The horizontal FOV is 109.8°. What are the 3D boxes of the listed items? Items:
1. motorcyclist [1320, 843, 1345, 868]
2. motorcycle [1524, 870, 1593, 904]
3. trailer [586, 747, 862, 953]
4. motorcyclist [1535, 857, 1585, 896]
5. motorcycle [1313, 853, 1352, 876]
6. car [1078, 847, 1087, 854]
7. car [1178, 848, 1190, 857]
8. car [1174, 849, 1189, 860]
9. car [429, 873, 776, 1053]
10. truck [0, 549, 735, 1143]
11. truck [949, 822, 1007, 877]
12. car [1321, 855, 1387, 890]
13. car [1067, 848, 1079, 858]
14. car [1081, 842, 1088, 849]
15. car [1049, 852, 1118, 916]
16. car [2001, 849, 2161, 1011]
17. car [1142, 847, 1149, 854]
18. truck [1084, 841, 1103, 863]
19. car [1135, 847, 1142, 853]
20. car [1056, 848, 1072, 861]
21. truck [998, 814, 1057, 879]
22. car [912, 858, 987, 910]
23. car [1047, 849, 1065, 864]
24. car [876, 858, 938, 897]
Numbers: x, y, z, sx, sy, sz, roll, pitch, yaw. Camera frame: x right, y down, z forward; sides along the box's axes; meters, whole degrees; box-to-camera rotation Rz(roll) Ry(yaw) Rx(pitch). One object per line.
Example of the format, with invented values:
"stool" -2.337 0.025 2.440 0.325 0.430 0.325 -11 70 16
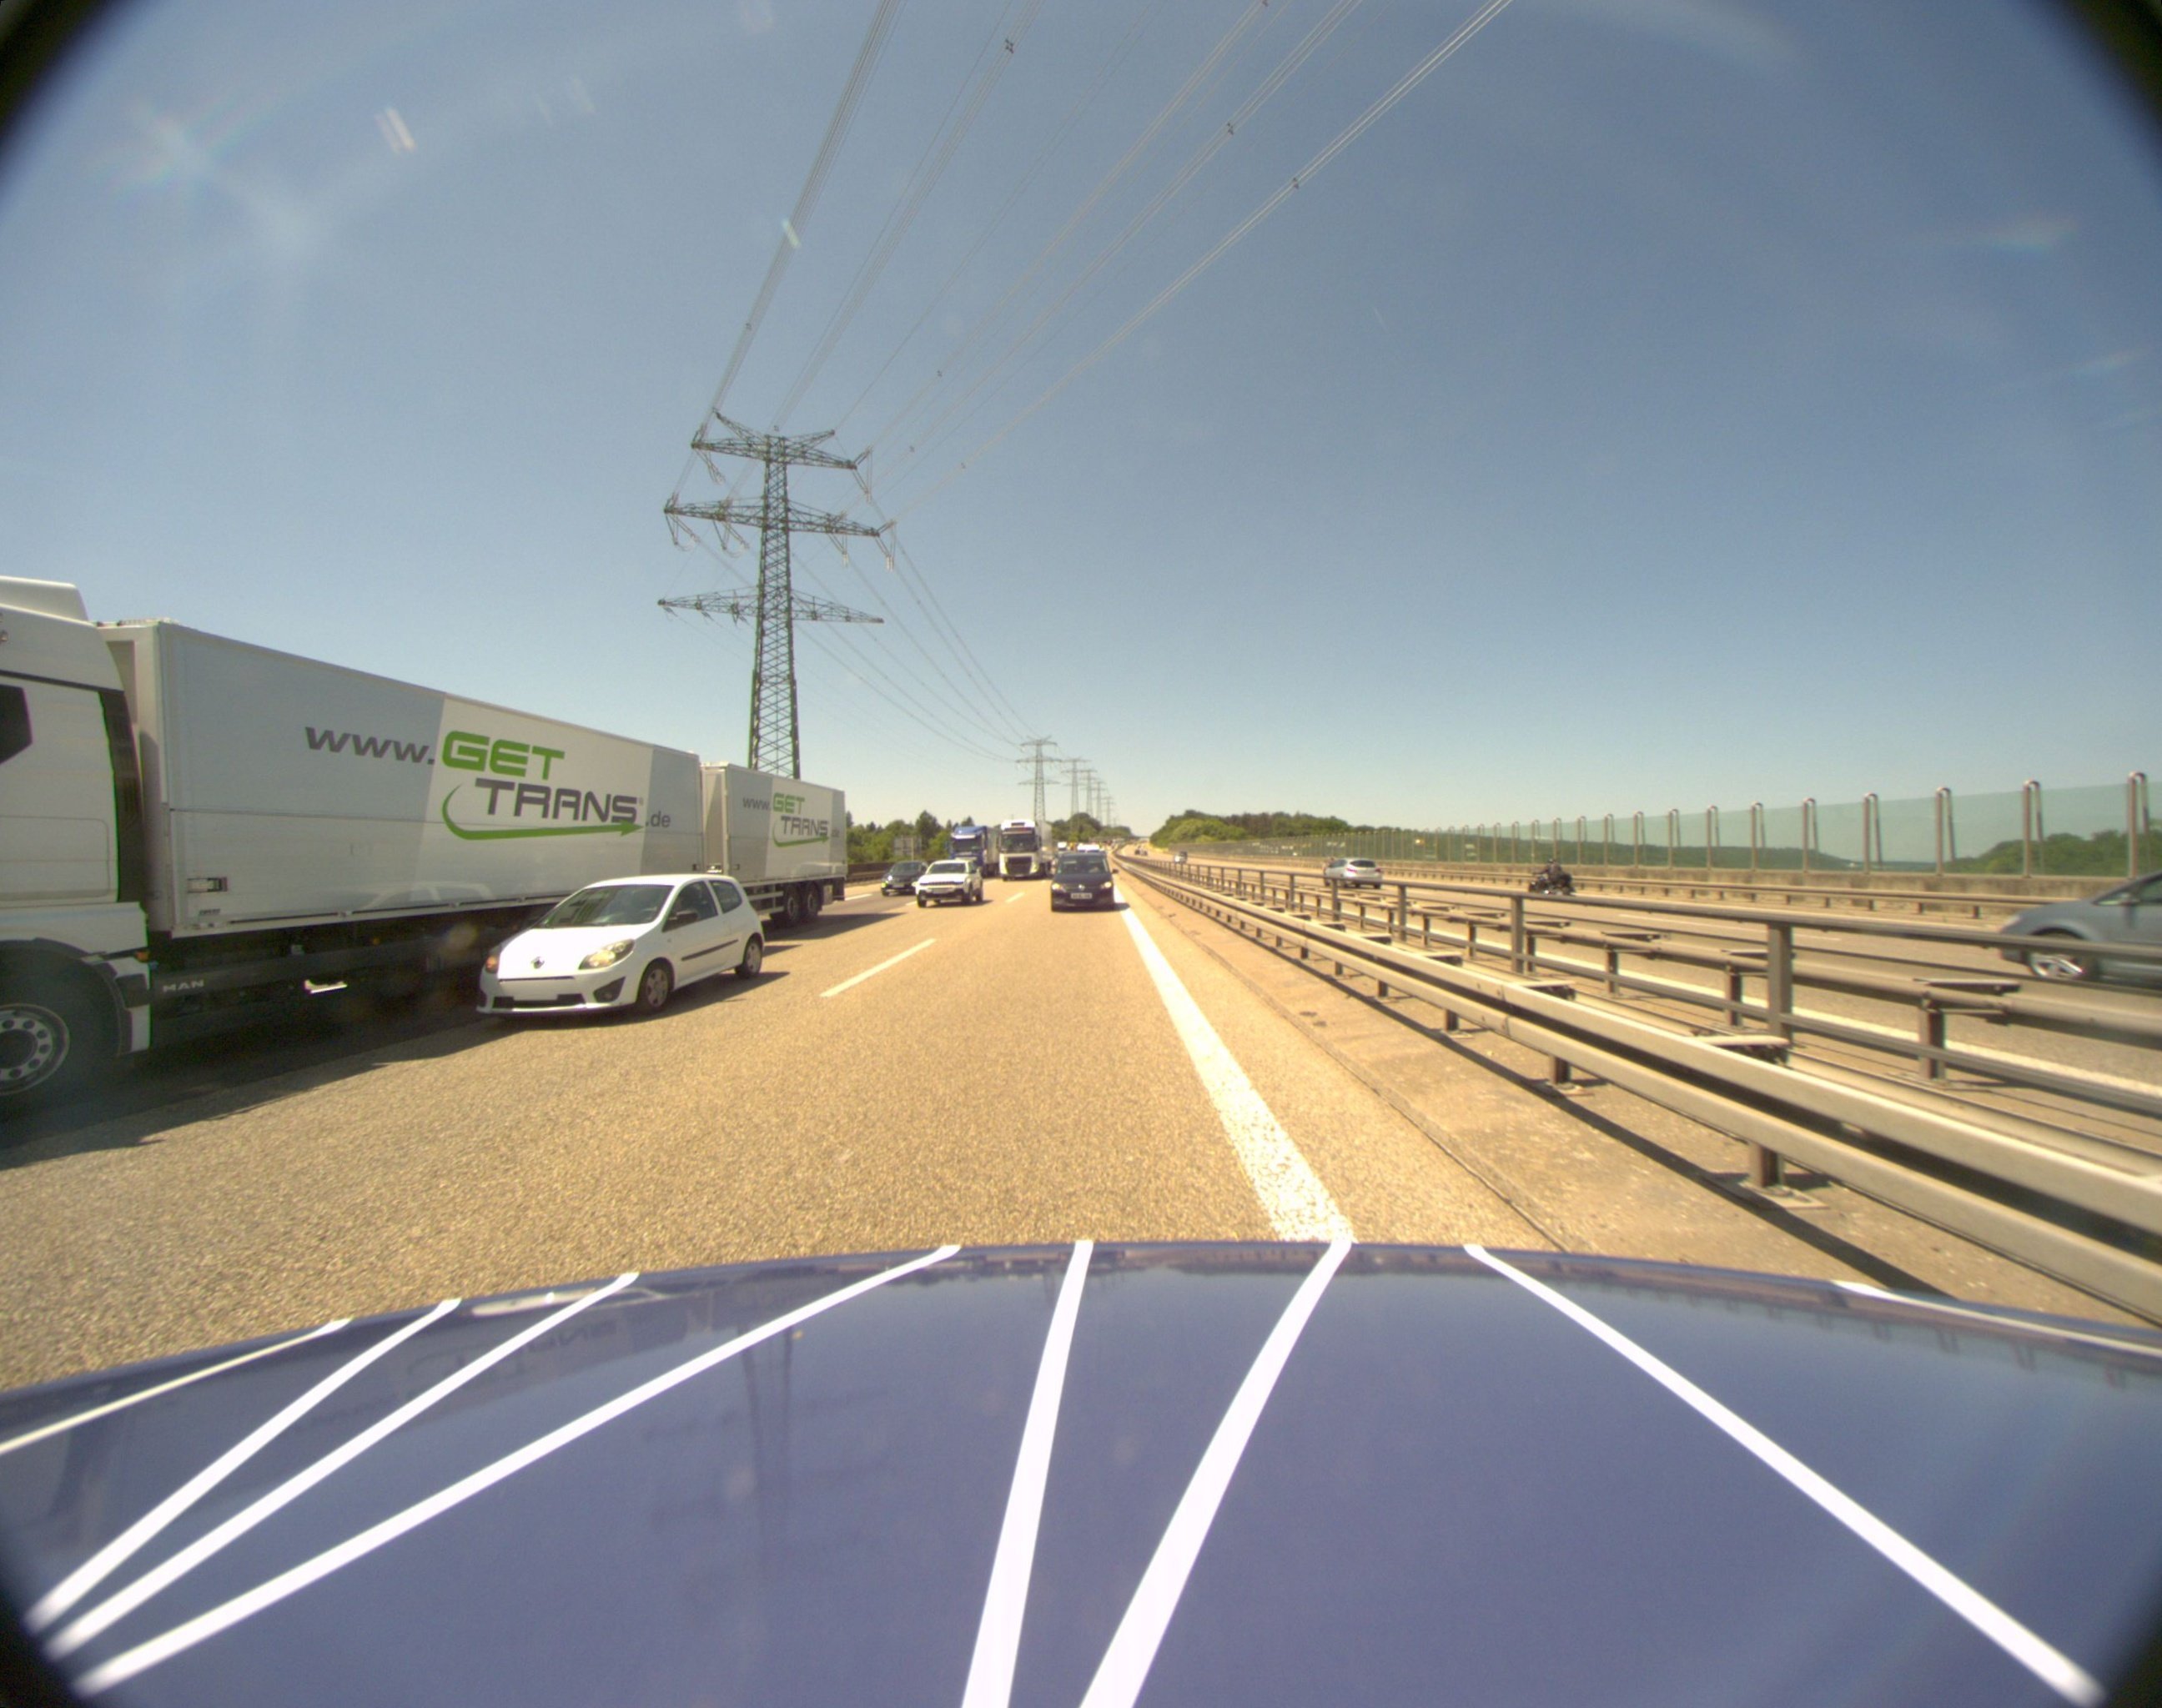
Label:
"motorcyclist" 17.839 0.111 53.945 1.379 1.675 1.133 -2 1 0
"motorcycle" 16.811 1.139 26.841 0.792 1.065 2.650 0 1 1
"trailer" -8.070 -0.078 18.674 2.752 3.918 7.774 -2 0 2
"motorcyclist" 16.814 0.788 26.695 0.921 1.276 1.286 -2 1 1
"motorcycle" 17.855 0.704 54.046 1.490 1.468 3.382 -2 1 -2
"car" 0.297 -0.855 170.811 1.821 1.569 3.999 -2 1 1
"car" 21.204 -0.348 156.820 1.820 1.824 3.999 -2 1 1
"car" 15.535 0.023 117.880 1.820 1.645 3.999 -2 1 1
"car" -5.278 1.076 9.087 1.659 1.501 3.825 -2 1 0
"truck" -8.327 -0.036 9.173 2.695 3.907 11.298 -2 0 2
"truck" -7.963 -0.364 60.375 2.840 3.858 11.272 -2 1 1
"car" 13.194 0.857 36.929 1.735 1.481 4.124 -2 1 1
"car" -1.328 -0.201 123.741 1.821 1.569 3.999 -2 1 1
"car" 1.048 -2.452 212.790 1.998 2.002 3.999 -2 1 1
"car" 0.122 0.788 22.057 1.748 1.569 4.000 -2 1 2
"car" 12.279 0.821 7.320 1.786 1.692 4.154 1 1 1
"car" 18.853 -0.977 221.343 1.820 1.824 4.000 -2 1 1
"truck" 1.637 -0.320 100.304 2.309 2.789 5.109 -2 1 2
"car" 18.280 -1.307 241.221 1.820 1.824 4.000 -2 1 1
"car" -2.255 0.083 101.494 1.821 1.569 3.999 -2 1 1
"truck" -3.562 -0.482 54.896 2.717 4.015 14.256 -2 0 2
"car" -4.426 0.982 26.169 1.776 1.521 3.851 -2 1 2
"car" -2.890 0.270 86.862 1.821 1.569 3.999 -2 1 1
"car" -7.904 1.043 34.870 1.821 1.569 3.999 -2 1 1
